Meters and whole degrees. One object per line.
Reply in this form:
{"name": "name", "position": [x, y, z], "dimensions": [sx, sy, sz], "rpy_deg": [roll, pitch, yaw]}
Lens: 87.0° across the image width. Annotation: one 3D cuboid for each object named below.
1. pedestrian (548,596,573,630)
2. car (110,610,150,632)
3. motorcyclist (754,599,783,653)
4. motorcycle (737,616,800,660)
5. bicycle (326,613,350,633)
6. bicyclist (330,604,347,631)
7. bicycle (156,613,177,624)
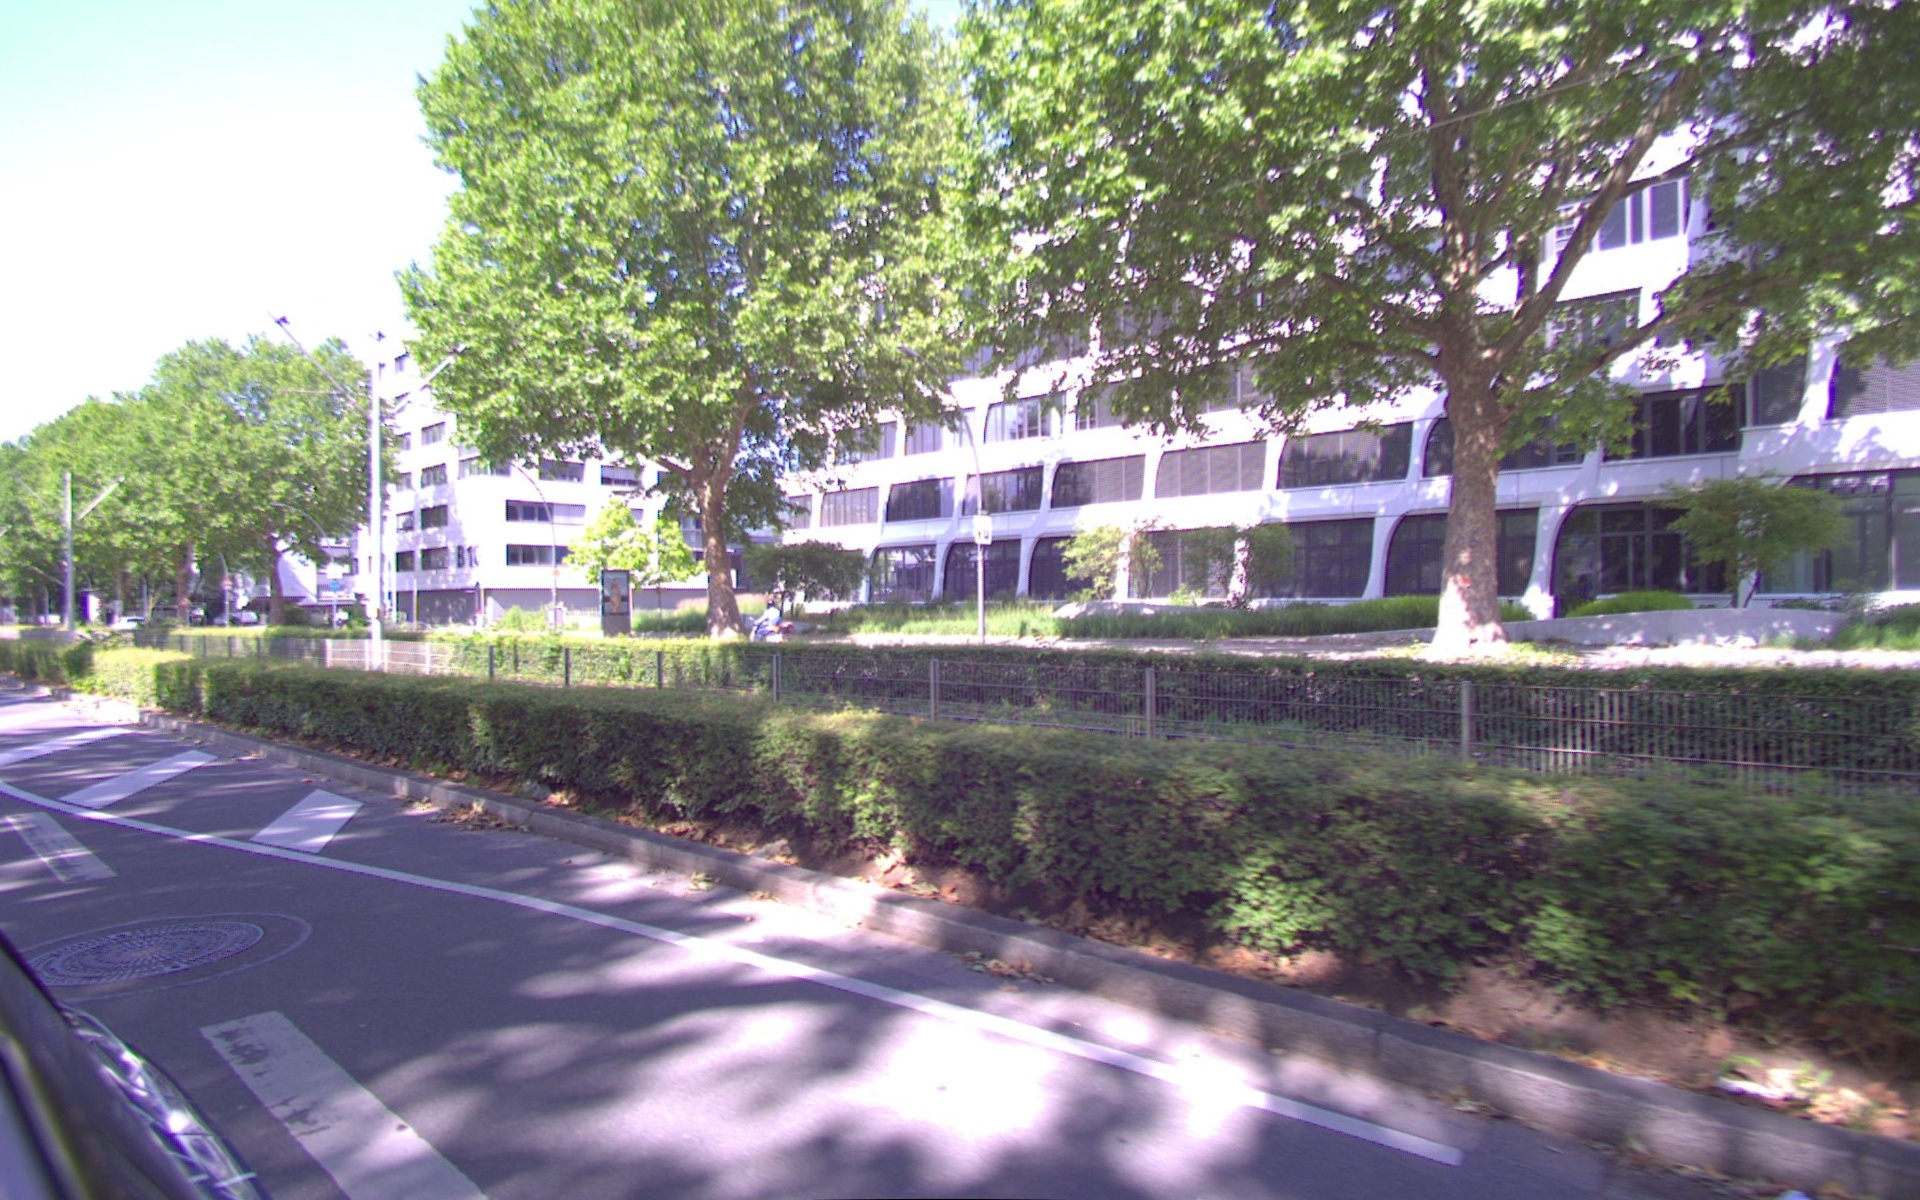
{"name": "pedestrian", "position": [-19.193, 0.627, 48.600], "dimensions": [1.014, 1.600, 0.712], "rpy_deg": [-1, 0, 42]}
{"name": "car", "position": [-64.161, 1.599, 78.196], "dimensions": [4.017, 1.581, 1.738], "rpy_deg": [-1, 0, 41]}
{"name": "motorcyclist", "position": [-5.387, 0.725, 28.505], "dimensions": [0.533, 1.468, 0.575], "rpy_deg": [-1, 0, 41]}
{"name": "motorcycle", "position": [-5.418, 1.045, 28.566], "dimensions": [1.999, 1.183, 0.626], "rpy_deg": [-1, 0, 42]}
{"name": "bicycle", "position": [-36.254, 1.326, 58.964], "dimensions": [2.030, 1.132, 0.657], "rpy_deg": [-1, 0, 42]}
{"name": "bicyclist", "position": [-36.175, 0.994, 58.885], "dimensions": [0.641, 1.546, 0.647], "rpy_deg": [-1, 0, 42]}
{"name": "bicycle", "position": [-85.495, 2.016, 109.000], "dimensions": [0.421, 1.111, 1.748], "rpy_deg": [-1, 0, 39]}
